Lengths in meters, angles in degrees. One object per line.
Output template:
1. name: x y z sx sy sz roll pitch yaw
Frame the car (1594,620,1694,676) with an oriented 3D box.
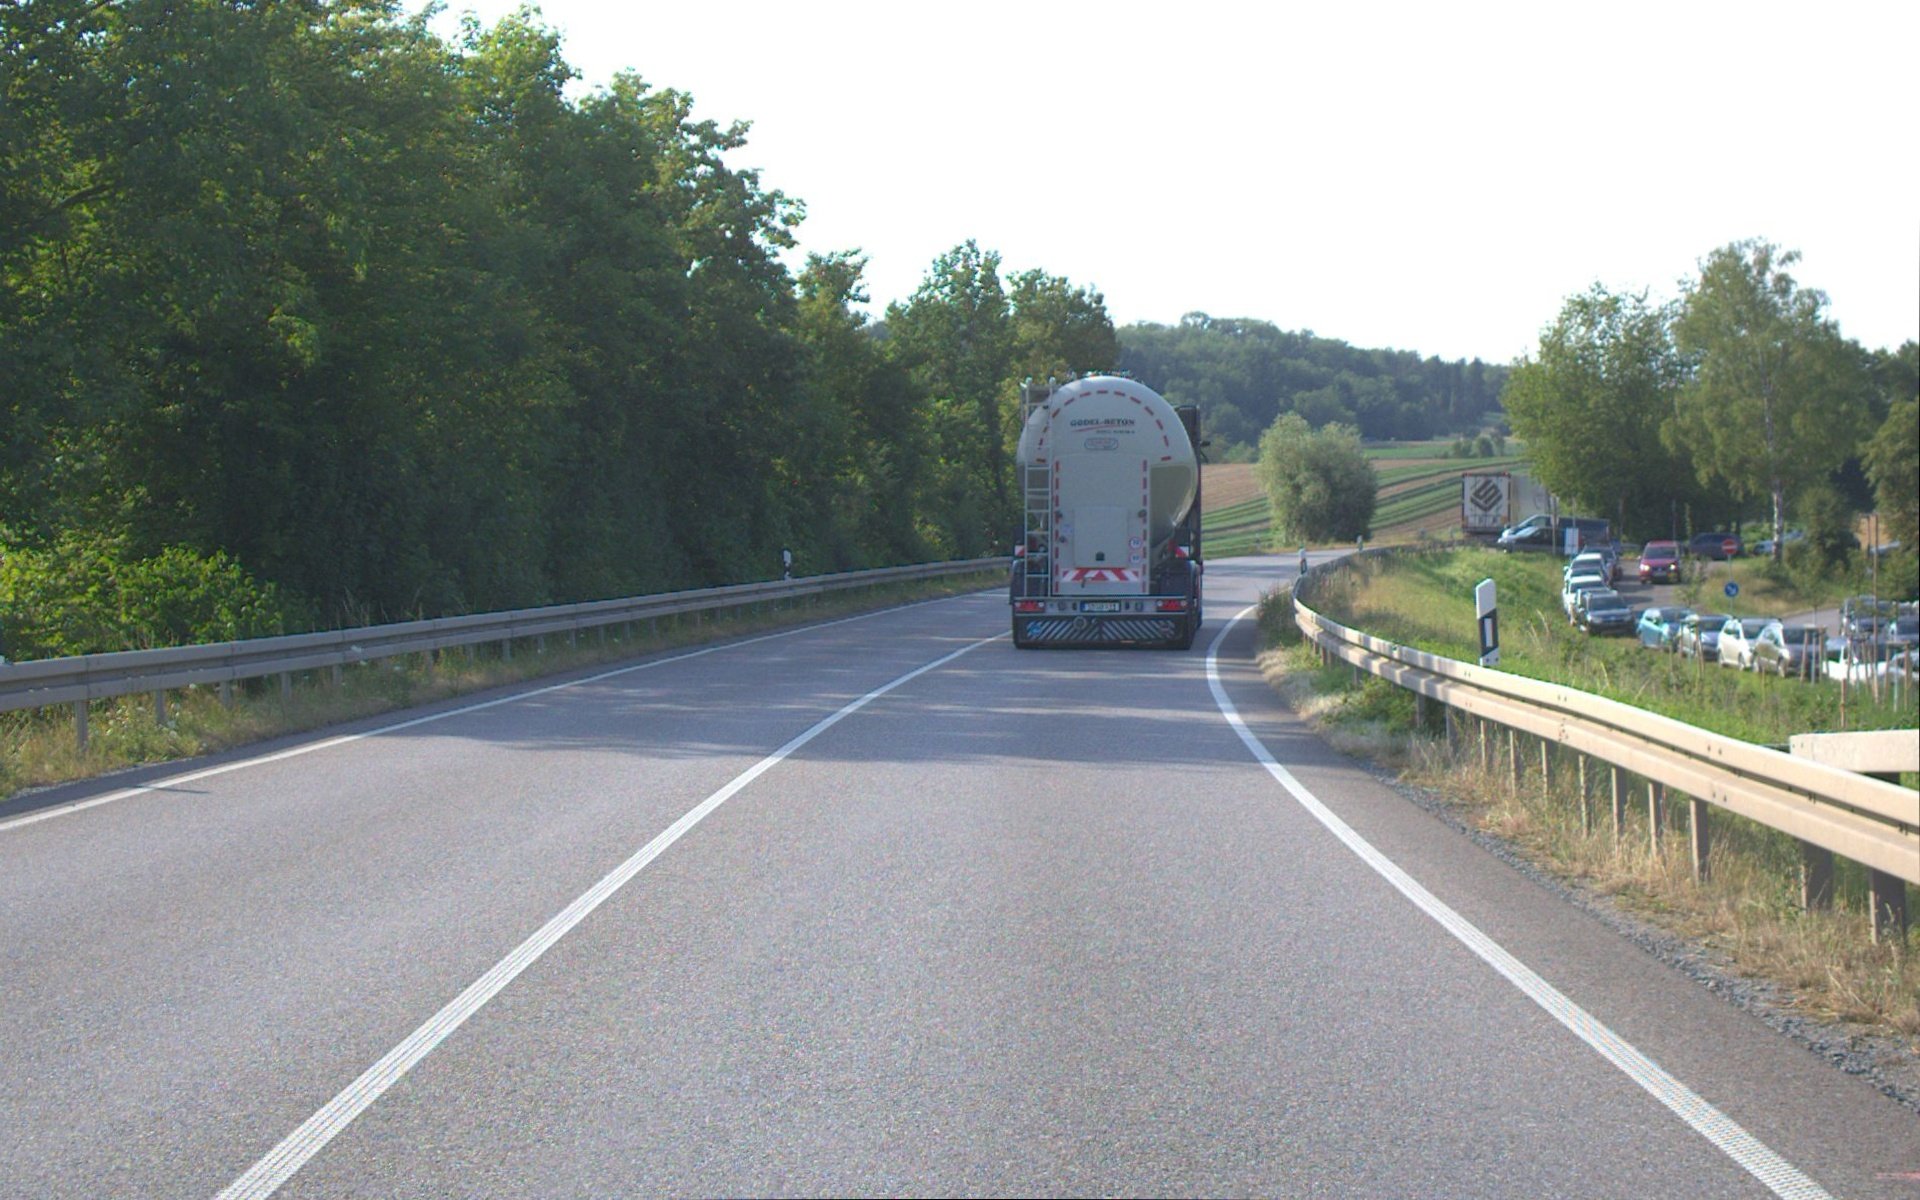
1. car: 23.358 1.626 117.489 1.891 1.554 4.784 -4 3 -7

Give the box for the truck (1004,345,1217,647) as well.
1. truck: 2.345 -1.569 53.774 2.893 4.128 13.171 0 1 2

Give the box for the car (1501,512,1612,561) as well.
1. car: 29.326 -3.129 169.079 5.143 1.937 1.974 6 3 13

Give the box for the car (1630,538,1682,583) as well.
1. car: 31.057 -1.781 153.470 1.892 1.681 5.085 -3 3 8

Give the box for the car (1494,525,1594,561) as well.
1. car: 28.105 -2.739 165.406 4.309 1.395 1.721 3 3 -14

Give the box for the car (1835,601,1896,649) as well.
1. car: 31.561 0.845 119.743 1.702 1.394 4.781 -3 1 18

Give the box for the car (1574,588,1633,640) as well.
1. car: 24.176 0.518 129.236 1.892 1.554 4.782 -3 3 8

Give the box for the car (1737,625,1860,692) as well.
1. car: 24.517 1.685 100.681 1.891 1.554 4.784 -4 3 -7

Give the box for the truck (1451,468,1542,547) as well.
1. truck: 29.793 -5.187 190.391 3.186 4.213 13.163 0 2 16

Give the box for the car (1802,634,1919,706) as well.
1. car: 24.946 1.890 94.443 1.891 1.554 4.784 -4 3 -7
